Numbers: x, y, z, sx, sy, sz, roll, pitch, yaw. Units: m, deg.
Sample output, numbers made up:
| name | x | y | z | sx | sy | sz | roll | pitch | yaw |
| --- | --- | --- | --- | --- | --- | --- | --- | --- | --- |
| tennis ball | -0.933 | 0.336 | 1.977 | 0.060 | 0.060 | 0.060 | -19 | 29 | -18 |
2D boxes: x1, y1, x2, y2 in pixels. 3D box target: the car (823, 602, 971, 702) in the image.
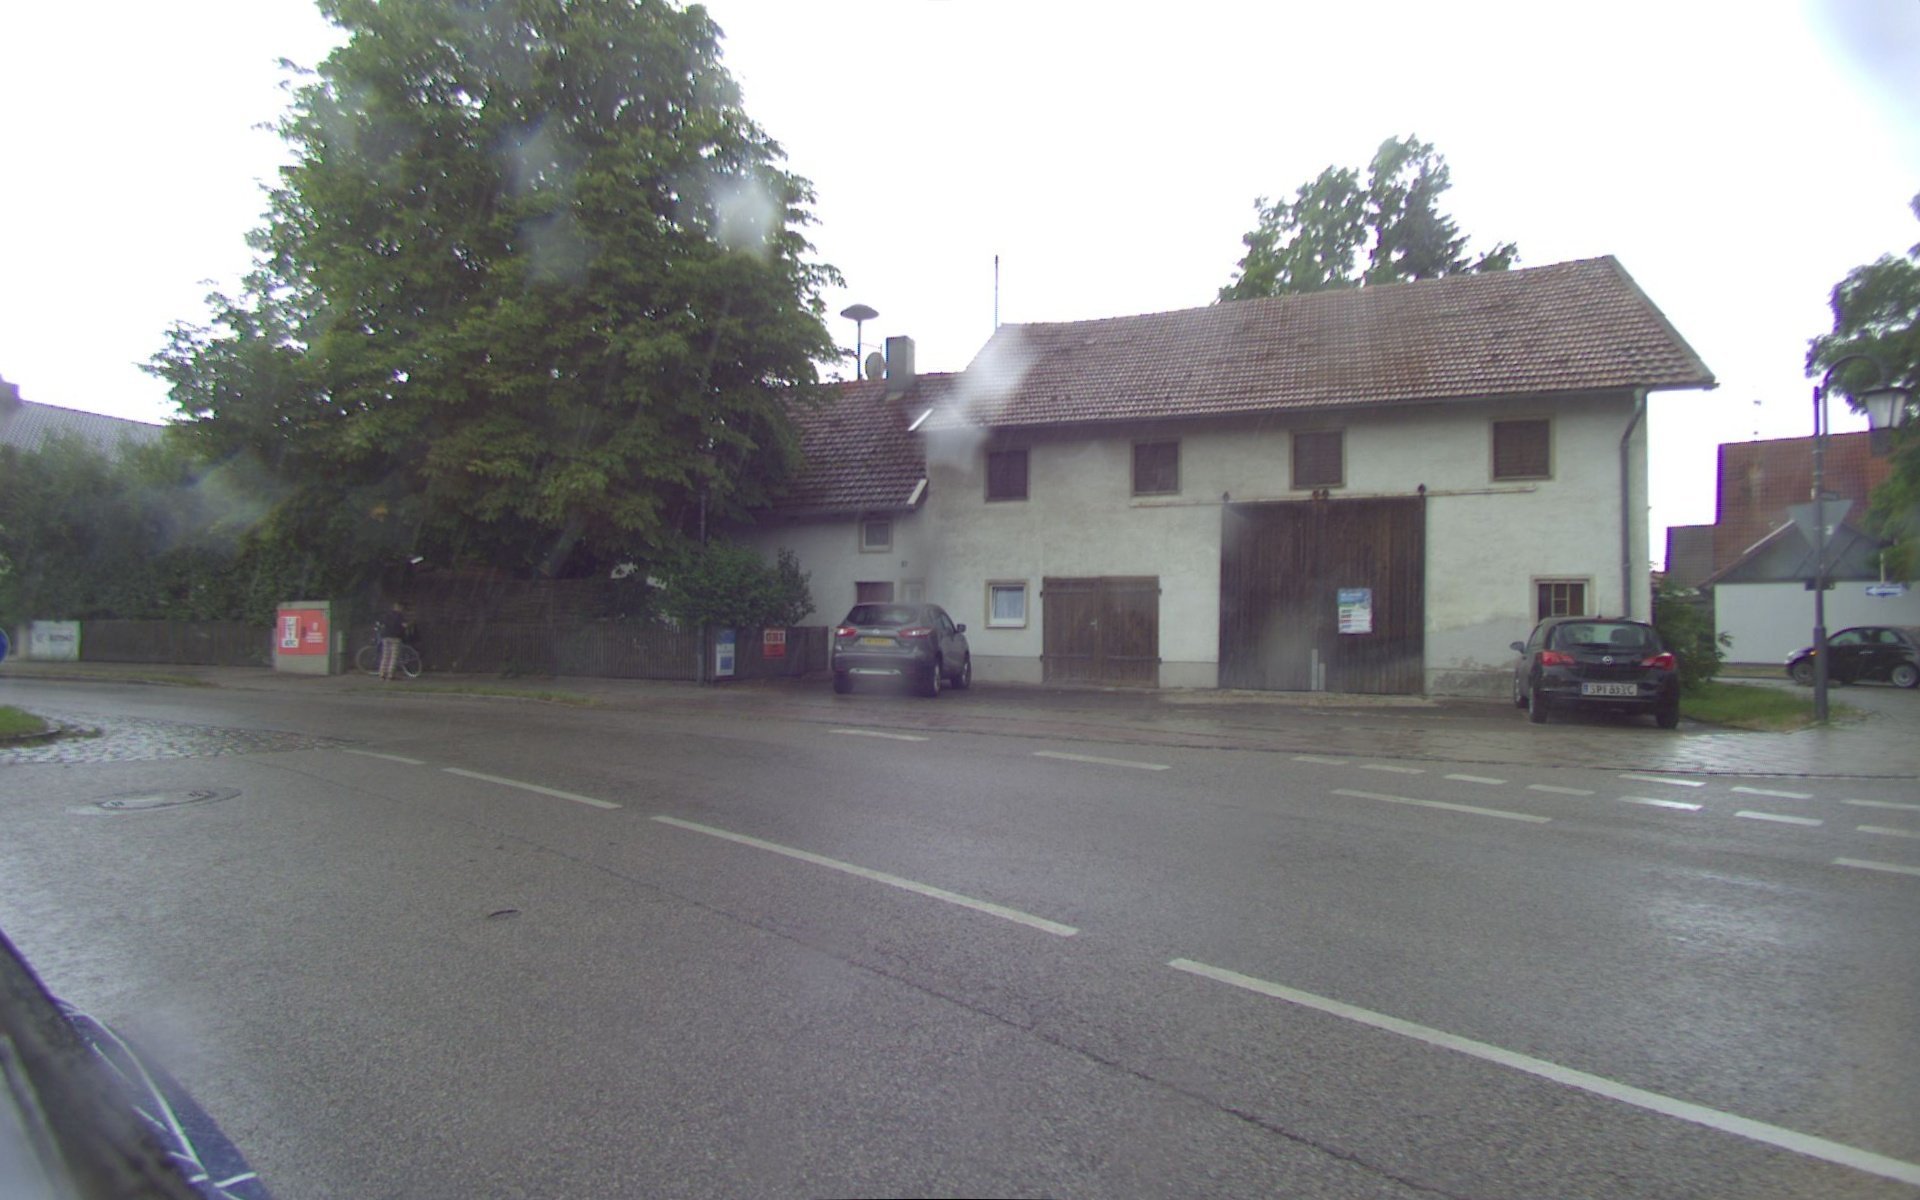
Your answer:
| name | x | y | z | sx | sy | sz | roll | pitch | yaw |
| --- | --- | --- | --- | --- | --- | --- | --- | --- | --- |
| car | -0.987 | 0.930 | 18.211 | 1.797 | 1.560 | 4.269 | 0 | -3 | 9 |

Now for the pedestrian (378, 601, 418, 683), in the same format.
| name | x | y | z | sx | sy | sz | roll | pitch | yaw |
| --- | --- | --- | --- | --- | --- | --- | --- | --- | --- |
| pedestrian | -11.411 | 0.849 | 20.564 | 0.642 | 1.640 | 0.480 | 0 | -1 | -22 |

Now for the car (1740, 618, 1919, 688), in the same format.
| name | x | y | z | sx | sy | sz | roll | pitch | yaw |
| --- | --- | --- | --- | --- | --- | --- | --- | --- | --- |
| car | 21.985 | 1.235 | 24.751 | 1.848 | 1.560 | 4.294 | 1 | -1 | -16 |

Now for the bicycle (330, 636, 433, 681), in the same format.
| name | x | y | z | sx | sy | sz | roll | pitch | yaw |
| --- | --- | --- | --- | --- | --- | --- | --- | --- | --- |
| bicycle | -12.188 | 1.225 | 21.338 | 1.852 | 0.909 | 0.662 | 0 | -1 | 7 |

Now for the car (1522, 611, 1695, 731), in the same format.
| name | x | y | z | sx | sy | sz | roll | pitch | yaw |
| --- | --- | --- | --- | --- | --- | --- | --- | --- | --- |
| car | 9.280 | 0.904 | 14.426 | 1.816 | 1.447 | 4.230 | -1 | -2 | 35 |
